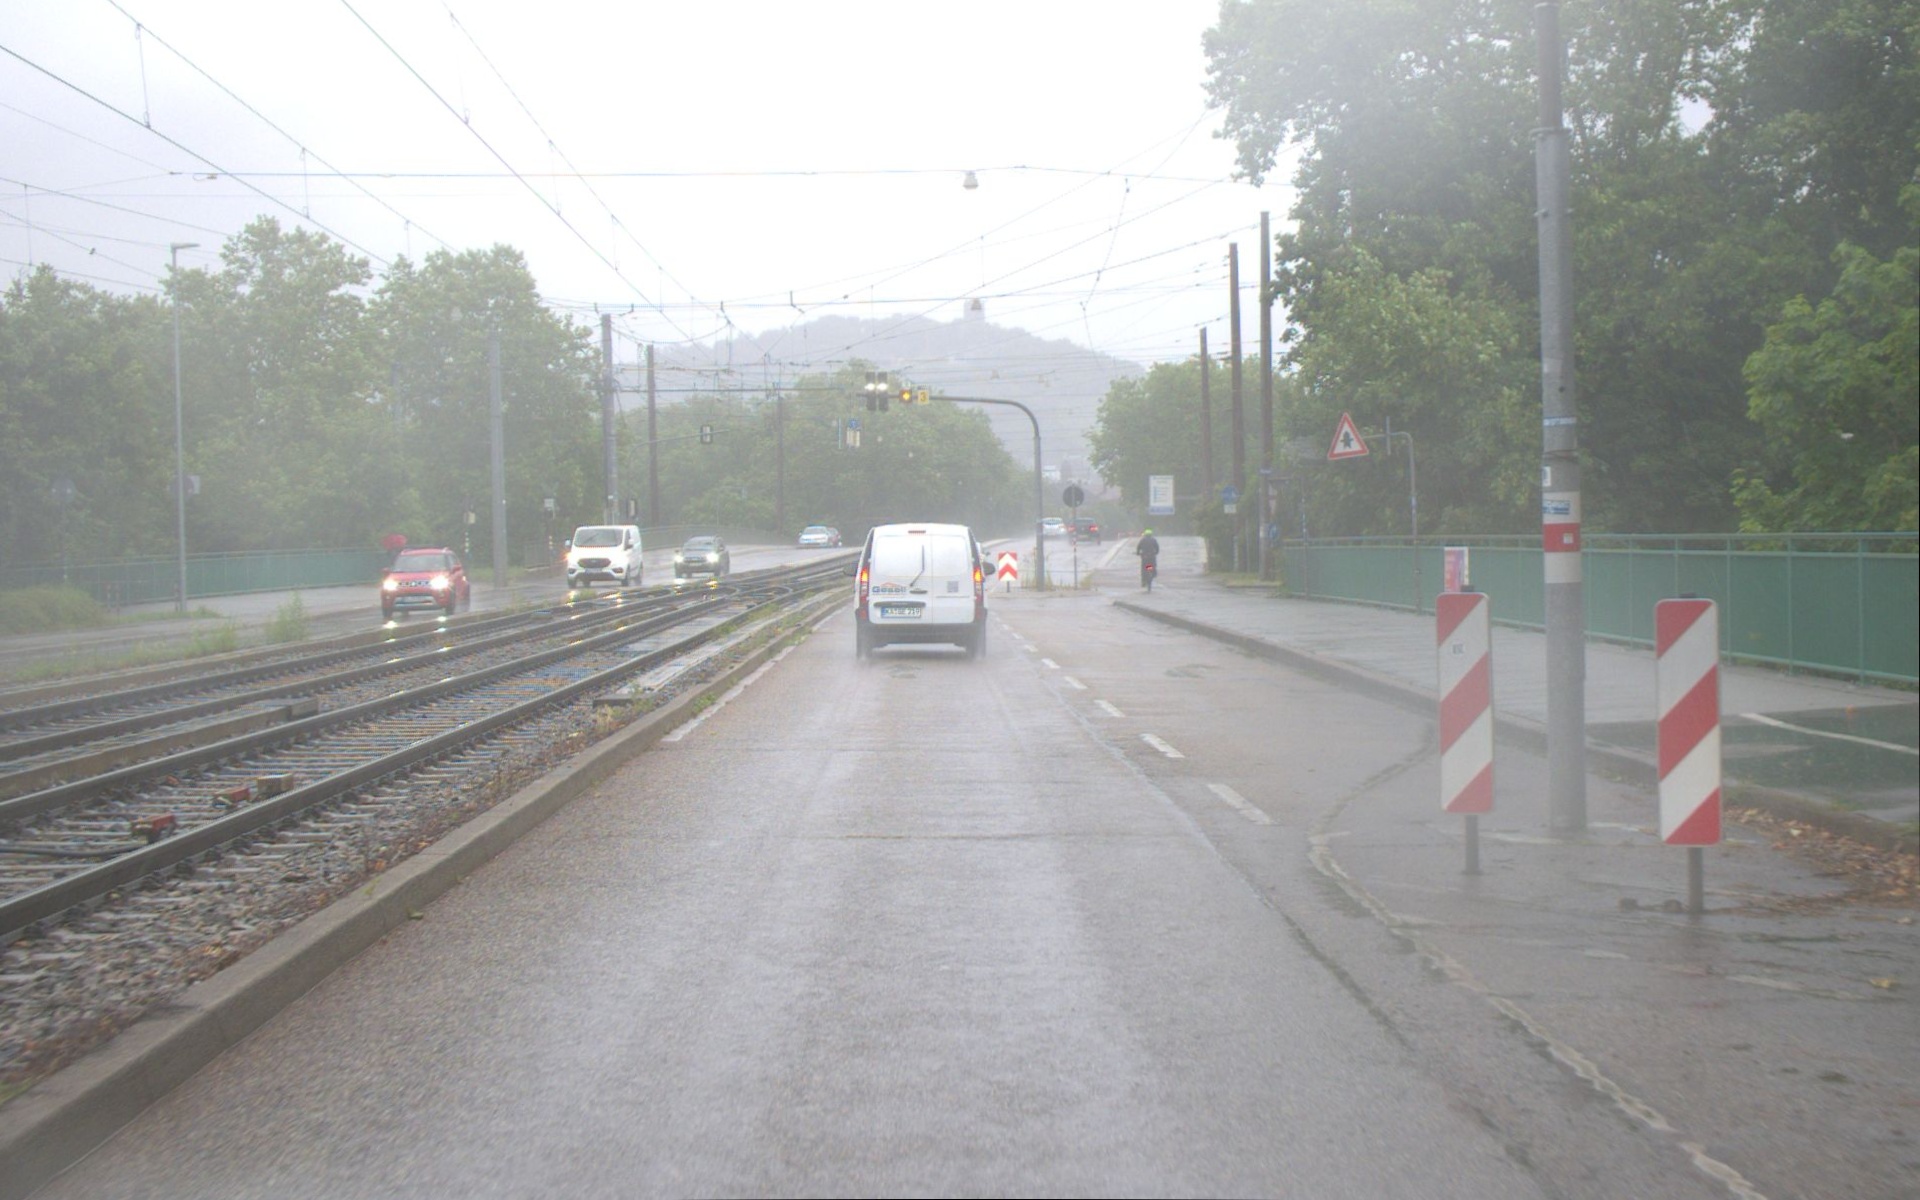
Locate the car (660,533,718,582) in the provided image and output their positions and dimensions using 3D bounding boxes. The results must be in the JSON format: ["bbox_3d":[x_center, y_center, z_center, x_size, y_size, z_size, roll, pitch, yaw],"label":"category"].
[{"bbox_3d":[-10.837,-1.691,137.712,1.993,1.941,4.000,0,0,1],"label":"car"}]

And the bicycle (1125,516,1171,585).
[{"bbox_3d":[5.535,-1.450,101.394,1.105,2.007,3.051,0,0,-1],"label":"bicycle"}]

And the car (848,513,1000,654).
[{"bbox_3d":[-0.472,-0.246,47.078,1.993,1.842,4.000,0,1,0],"label":"car"}]

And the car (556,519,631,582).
[{"bbox_3d":[-12.006,-1.605,112.858,1.993,2.007,4.000,0,0,1],"label":"car"}]

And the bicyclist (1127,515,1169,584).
[{"bbox_3d":[5.546,-1.483,101.558,1.100,2.007,1.674,0,0,-1],"label":"bicyclist"}]

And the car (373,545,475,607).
[{"bbox_3d":[-12.722,-0.587,81.819,1.819,1.393,4.000,-1,1,-1],"label":"car"}]
